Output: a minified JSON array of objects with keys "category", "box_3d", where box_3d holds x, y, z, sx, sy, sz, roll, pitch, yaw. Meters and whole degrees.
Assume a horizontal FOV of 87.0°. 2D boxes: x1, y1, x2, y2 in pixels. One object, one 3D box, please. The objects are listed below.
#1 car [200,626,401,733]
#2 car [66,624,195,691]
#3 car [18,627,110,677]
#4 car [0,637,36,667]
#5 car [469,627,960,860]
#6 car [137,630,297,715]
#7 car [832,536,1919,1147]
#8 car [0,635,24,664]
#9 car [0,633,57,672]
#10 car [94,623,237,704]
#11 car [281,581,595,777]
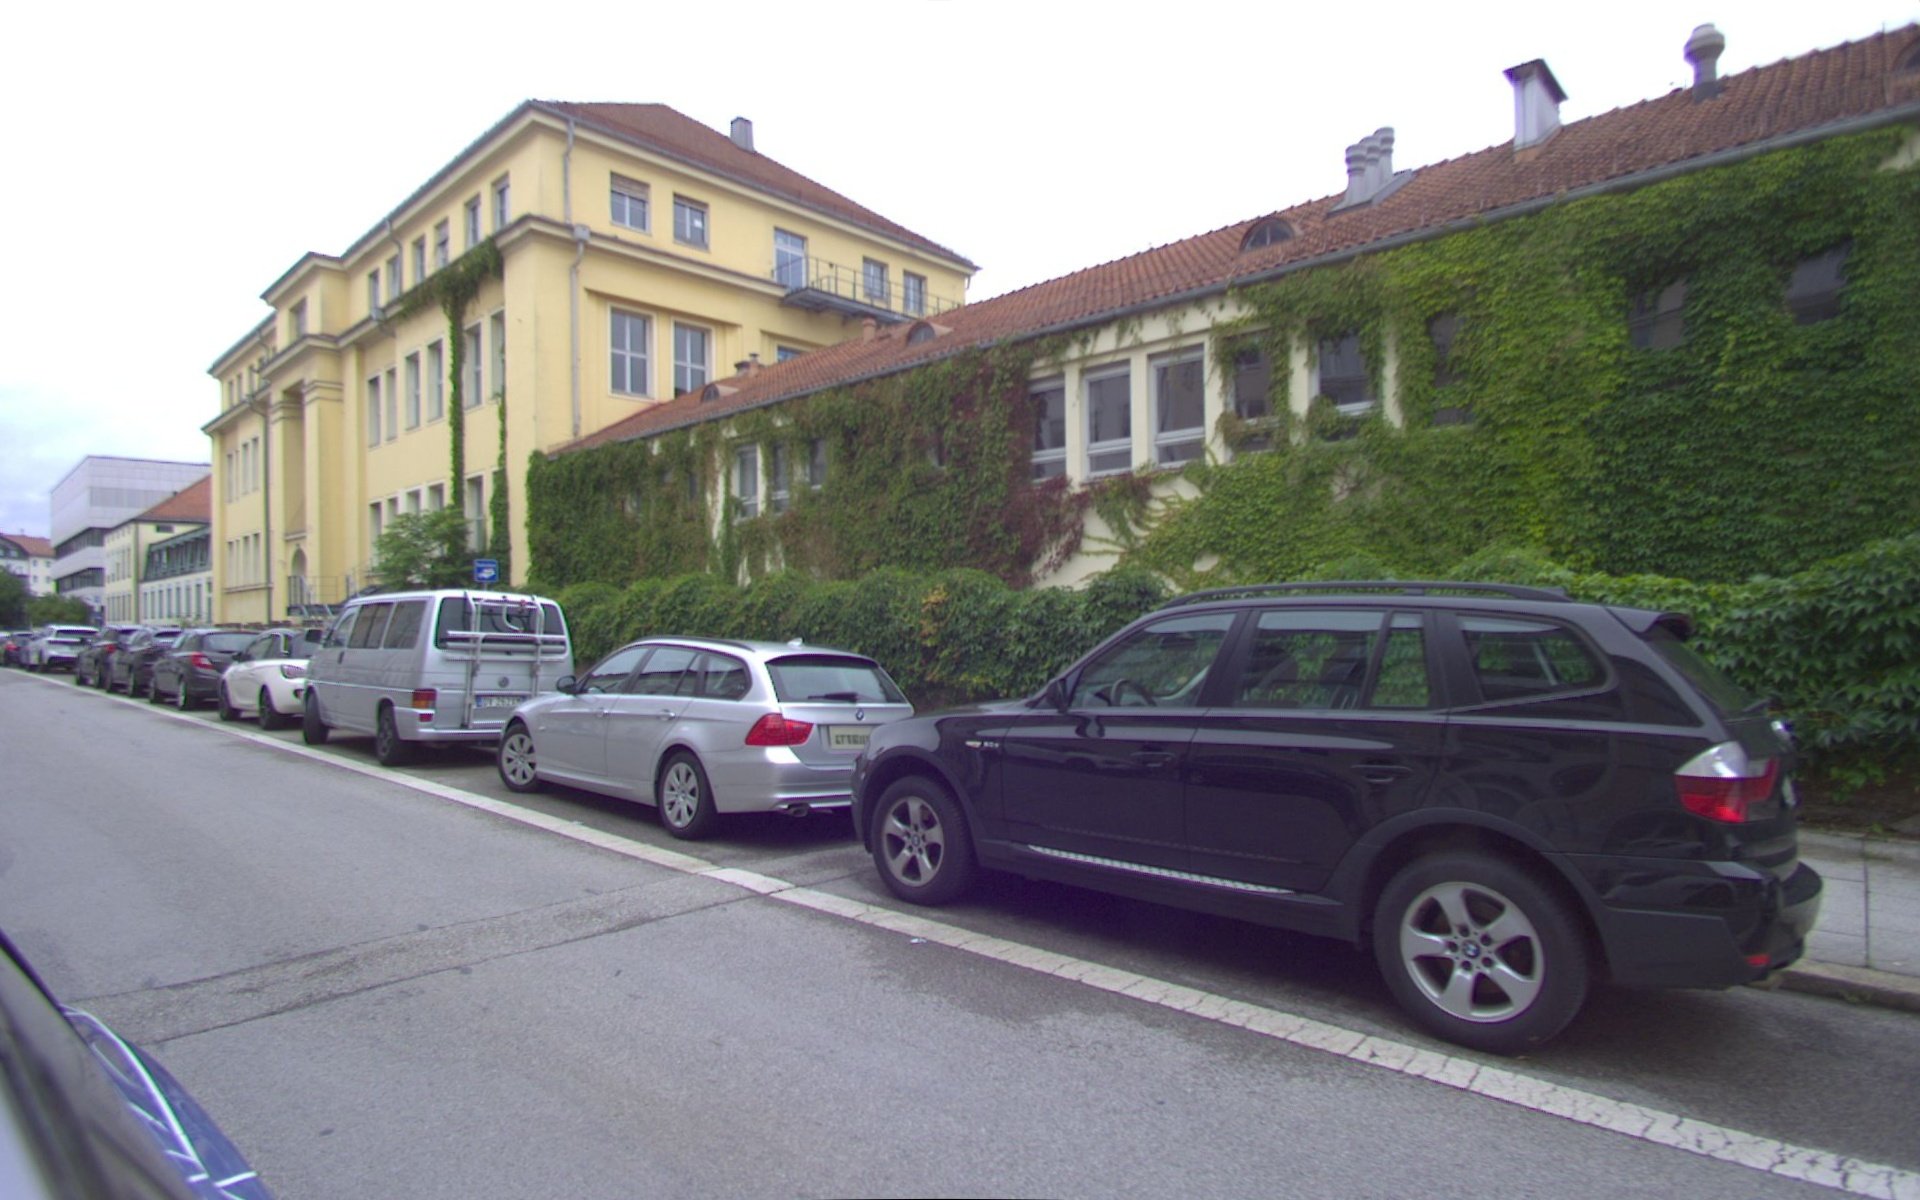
[{"category":"car","box_3d":[-10.344,1.160,15.771,4.017,1.452,1.574,-2,-4,41]},{"category":"car","box_3d":[-21.542,1.459,26.213,4.816,1.599,1.770,-2,-4,41]},{"category":"car","box_3d":[-31.489,1.794,35.520,4.853,1.646,1.728,-2,-3,41]},{"category":"car","box_3d":[-48.234,2.575,51.103,4.663,1.440,1.775,-2,-4,41]},{"category":"car","box_3d":[-2.295,0.976,8.464,4.771,1.425,1.635,-2,-4,44]},{"category":"car","box_3d":[-14.311,1.334,19.405,4.250,1.441,1.586,-1,-4,42]},{"category":"car","box_3d":[1.510,0.733,4.890,4.489,1.655,1.679,-1,-4,42]},{"category":"car","box_3d":[-52.487,2.649,54.884,4.526,1.493,1.937,-2,-4,41]},{"category":"car","box_3d":[-39.056,2.168,42.165,4.149,1.508,1.680,-2,-5,43]},{"category":"car","box_3d":[-17.952,1.378,22.788,4.464,1.642,1.706,-2,-4,41]},{"category":"car","box_3d":[-6.420,0.855,12.169,4.775,1.904,1.866,-2,-4,44]}]
